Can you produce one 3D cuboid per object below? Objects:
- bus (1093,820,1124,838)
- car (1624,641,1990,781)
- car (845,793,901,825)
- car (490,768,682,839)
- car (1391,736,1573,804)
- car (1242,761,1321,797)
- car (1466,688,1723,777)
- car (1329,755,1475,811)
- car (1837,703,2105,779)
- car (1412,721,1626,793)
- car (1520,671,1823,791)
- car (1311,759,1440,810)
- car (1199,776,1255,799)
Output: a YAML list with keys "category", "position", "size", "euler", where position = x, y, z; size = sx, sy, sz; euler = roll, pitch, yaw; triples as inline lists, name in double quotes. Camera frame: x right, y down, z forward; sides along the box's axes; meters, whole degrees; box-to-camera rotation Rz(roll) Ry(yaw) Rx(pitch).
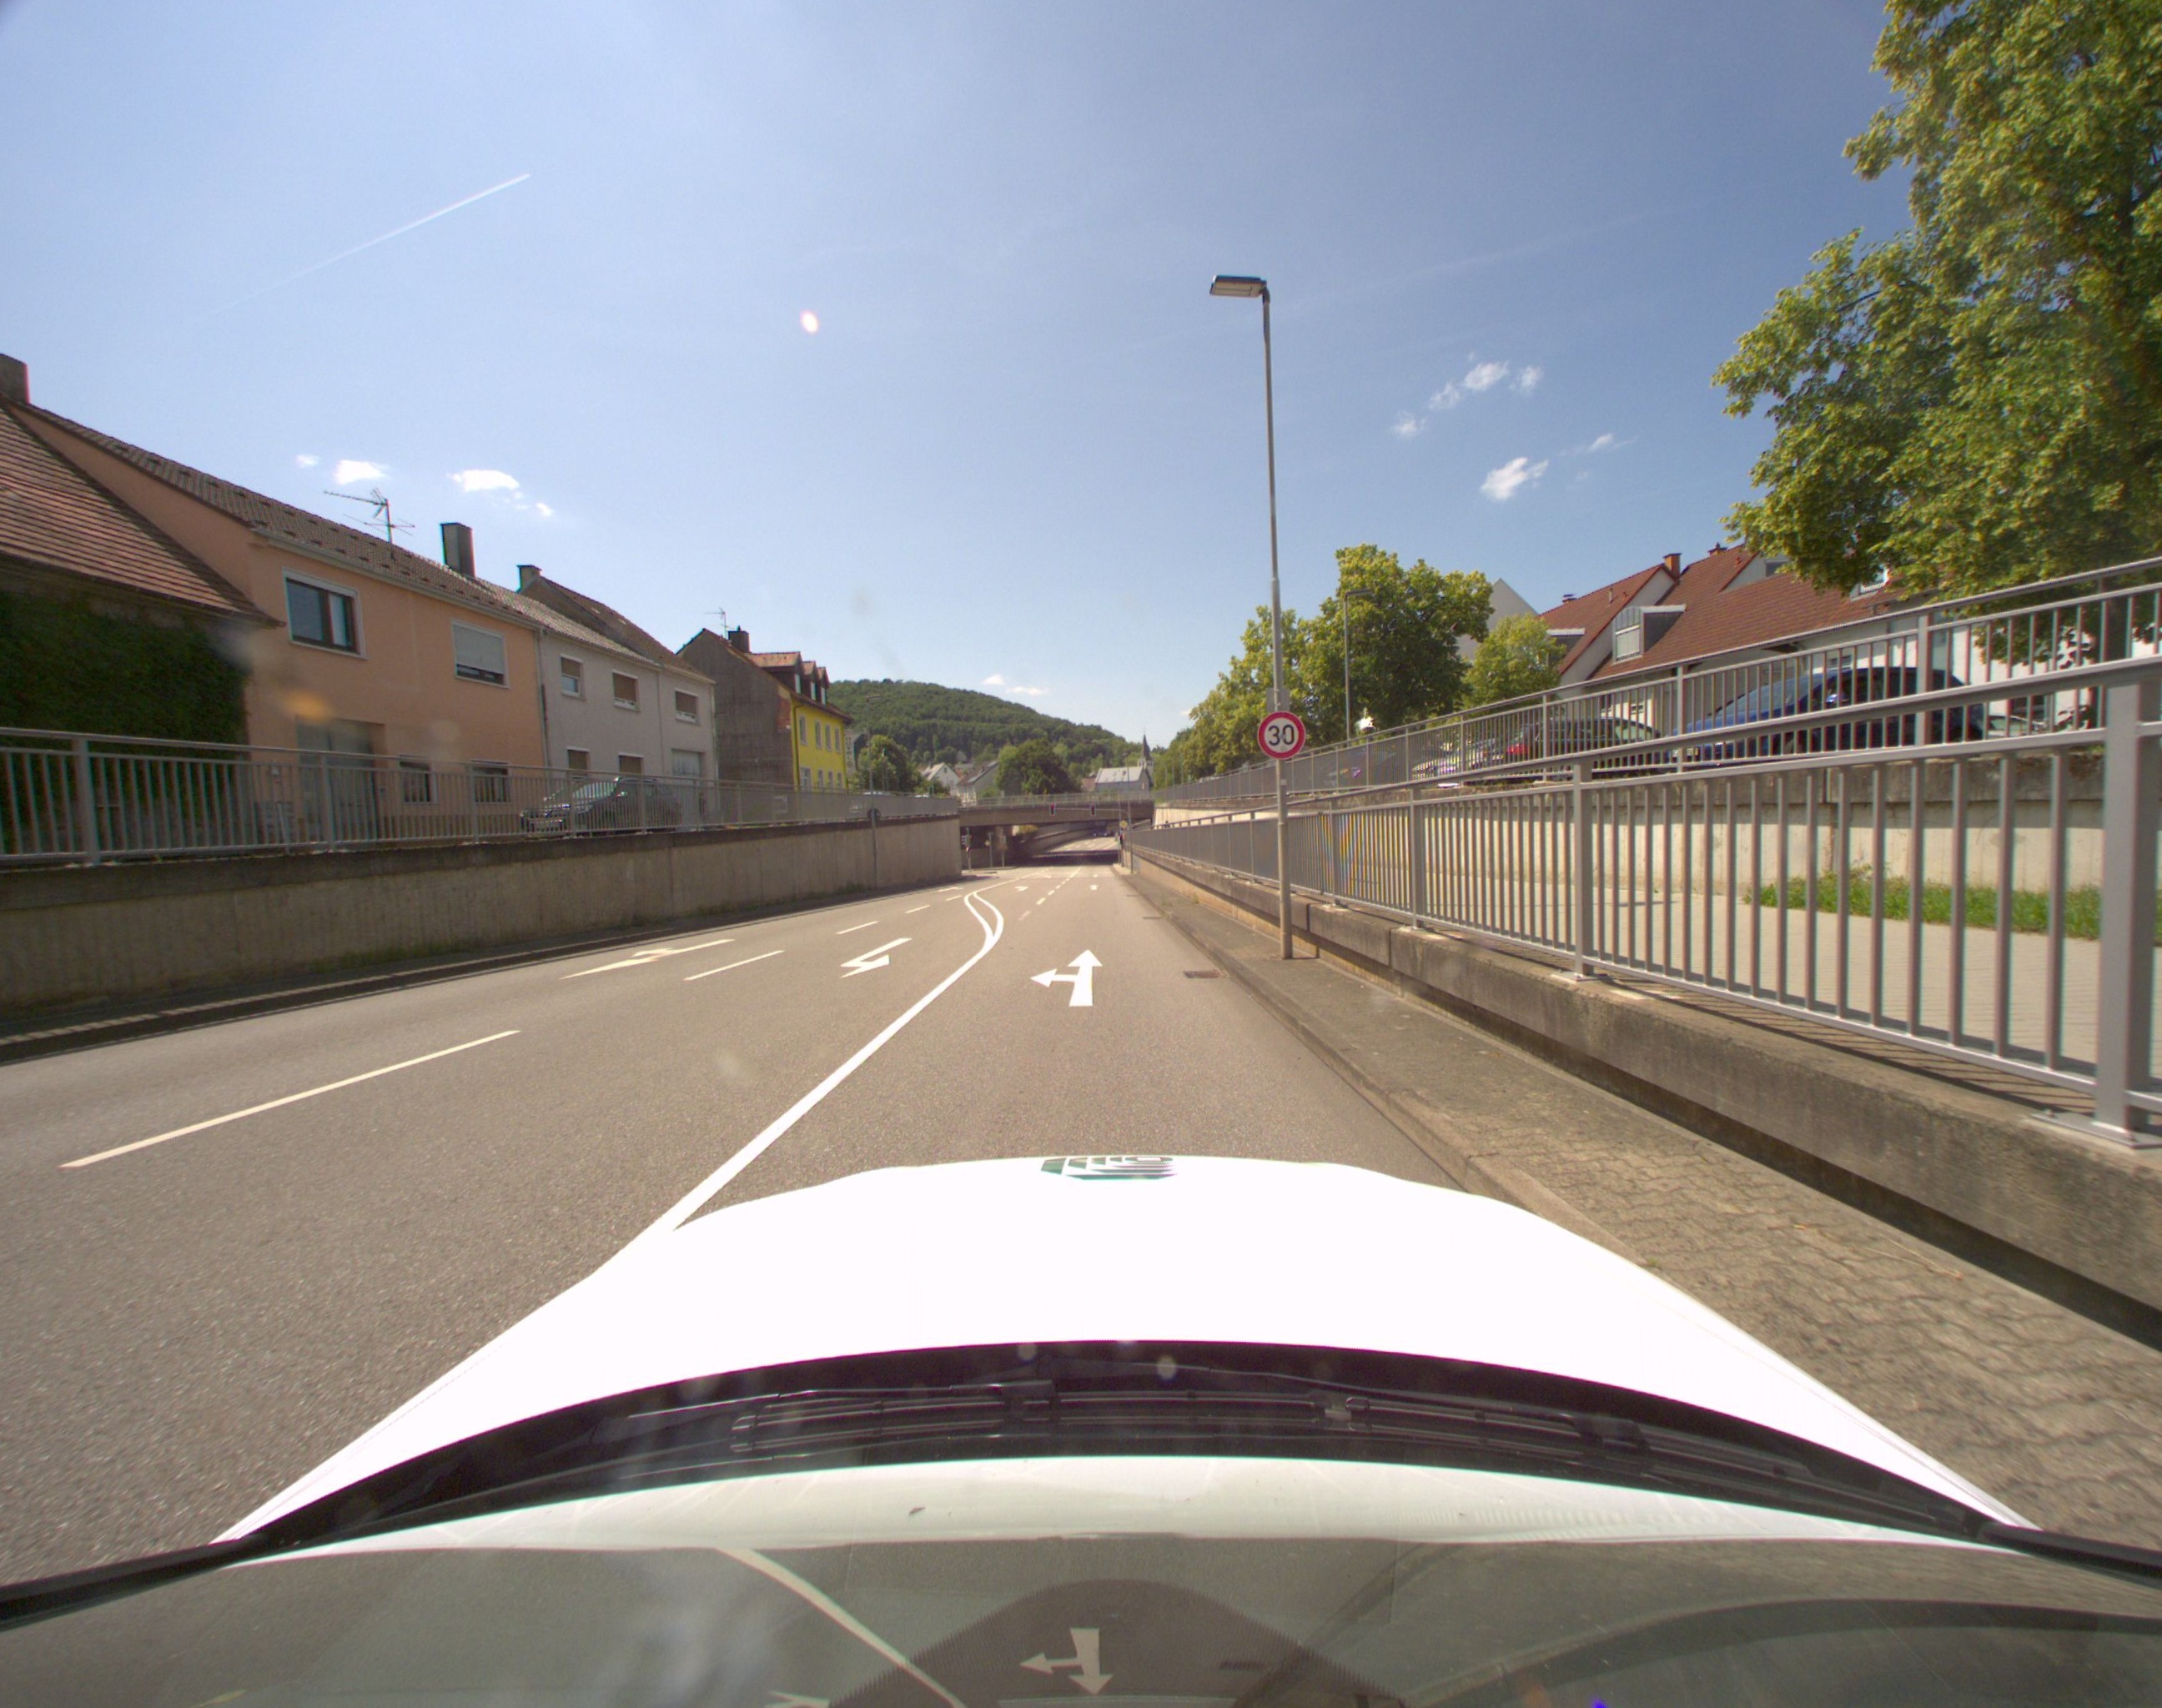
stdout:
- category: "bus"
  position: [5.099, -4.596, 147.745]
  size: [2.561, 3.172, 12.432]
  euler: [-1, 2, 16]
- category: "car"
  position: [10.372, -1.968, 11.792]
  size: [3.985, 1.629, 1.858]
  euler: [0, 0, -9]
- category: "car"
  position: [-10.681, -2.269, 42.110]
  size: [1.793, 1.524, 4.392]
  euler: [-2, 2, -1]
- category: "car"
  position: [-11.266, -1.122, 18.969]
  size: [1.780, 1.405, 4.392]
  euler: [-2, 2, -1]
- category: "car"
  position: [10.563, -2.193, 21.667]
  size: [3.970, 1.555, 1.726]
  euler: [-1, 0, 3]
- category: "car"
  position: [11.109, -4.163, 45.304]
  size: [3.969, 1.770, 1.772]
  euler: [-1, 0, 4]
- category: "car"
  position: [10.135, -2.390, 16.299]
  size: [3.972, 1.307, 1.773]
  euler: [-3, 1, 1]
- category: "car"
  position: [10.127, -2.219, 25.914]
  size: [3.970, 1.555, 1.726]
  euler: [-1, 0, 3]
- category: "car"
  position: [21.932, -2.755, 20.231]
  size: [4.468, 1.479, 2.001]
  euler: [-3, 3, 1]
- category: "car"
  position: [9.882, -2.175, 18.609]
  size: [3.970, 1.427, 1.727]
  euler: [-1, 2, 3]
- category: "car"
  position: [10.086, -2.064, 14.100]
  size: [3.977, 1.632, 1.771]
  euler: [-3, 1, -3]
- category: "car"
  position: [10.361, -2.433, 28.892]
  size: [3.970, 1.555, 1.726]
  euler: [-1, 0, 3]
- category: "car"
  position: [10.882, -4.991, 60.879]
  size: [3.969, 1.486, 1.772]
  euler: [-1, 0, 4]
